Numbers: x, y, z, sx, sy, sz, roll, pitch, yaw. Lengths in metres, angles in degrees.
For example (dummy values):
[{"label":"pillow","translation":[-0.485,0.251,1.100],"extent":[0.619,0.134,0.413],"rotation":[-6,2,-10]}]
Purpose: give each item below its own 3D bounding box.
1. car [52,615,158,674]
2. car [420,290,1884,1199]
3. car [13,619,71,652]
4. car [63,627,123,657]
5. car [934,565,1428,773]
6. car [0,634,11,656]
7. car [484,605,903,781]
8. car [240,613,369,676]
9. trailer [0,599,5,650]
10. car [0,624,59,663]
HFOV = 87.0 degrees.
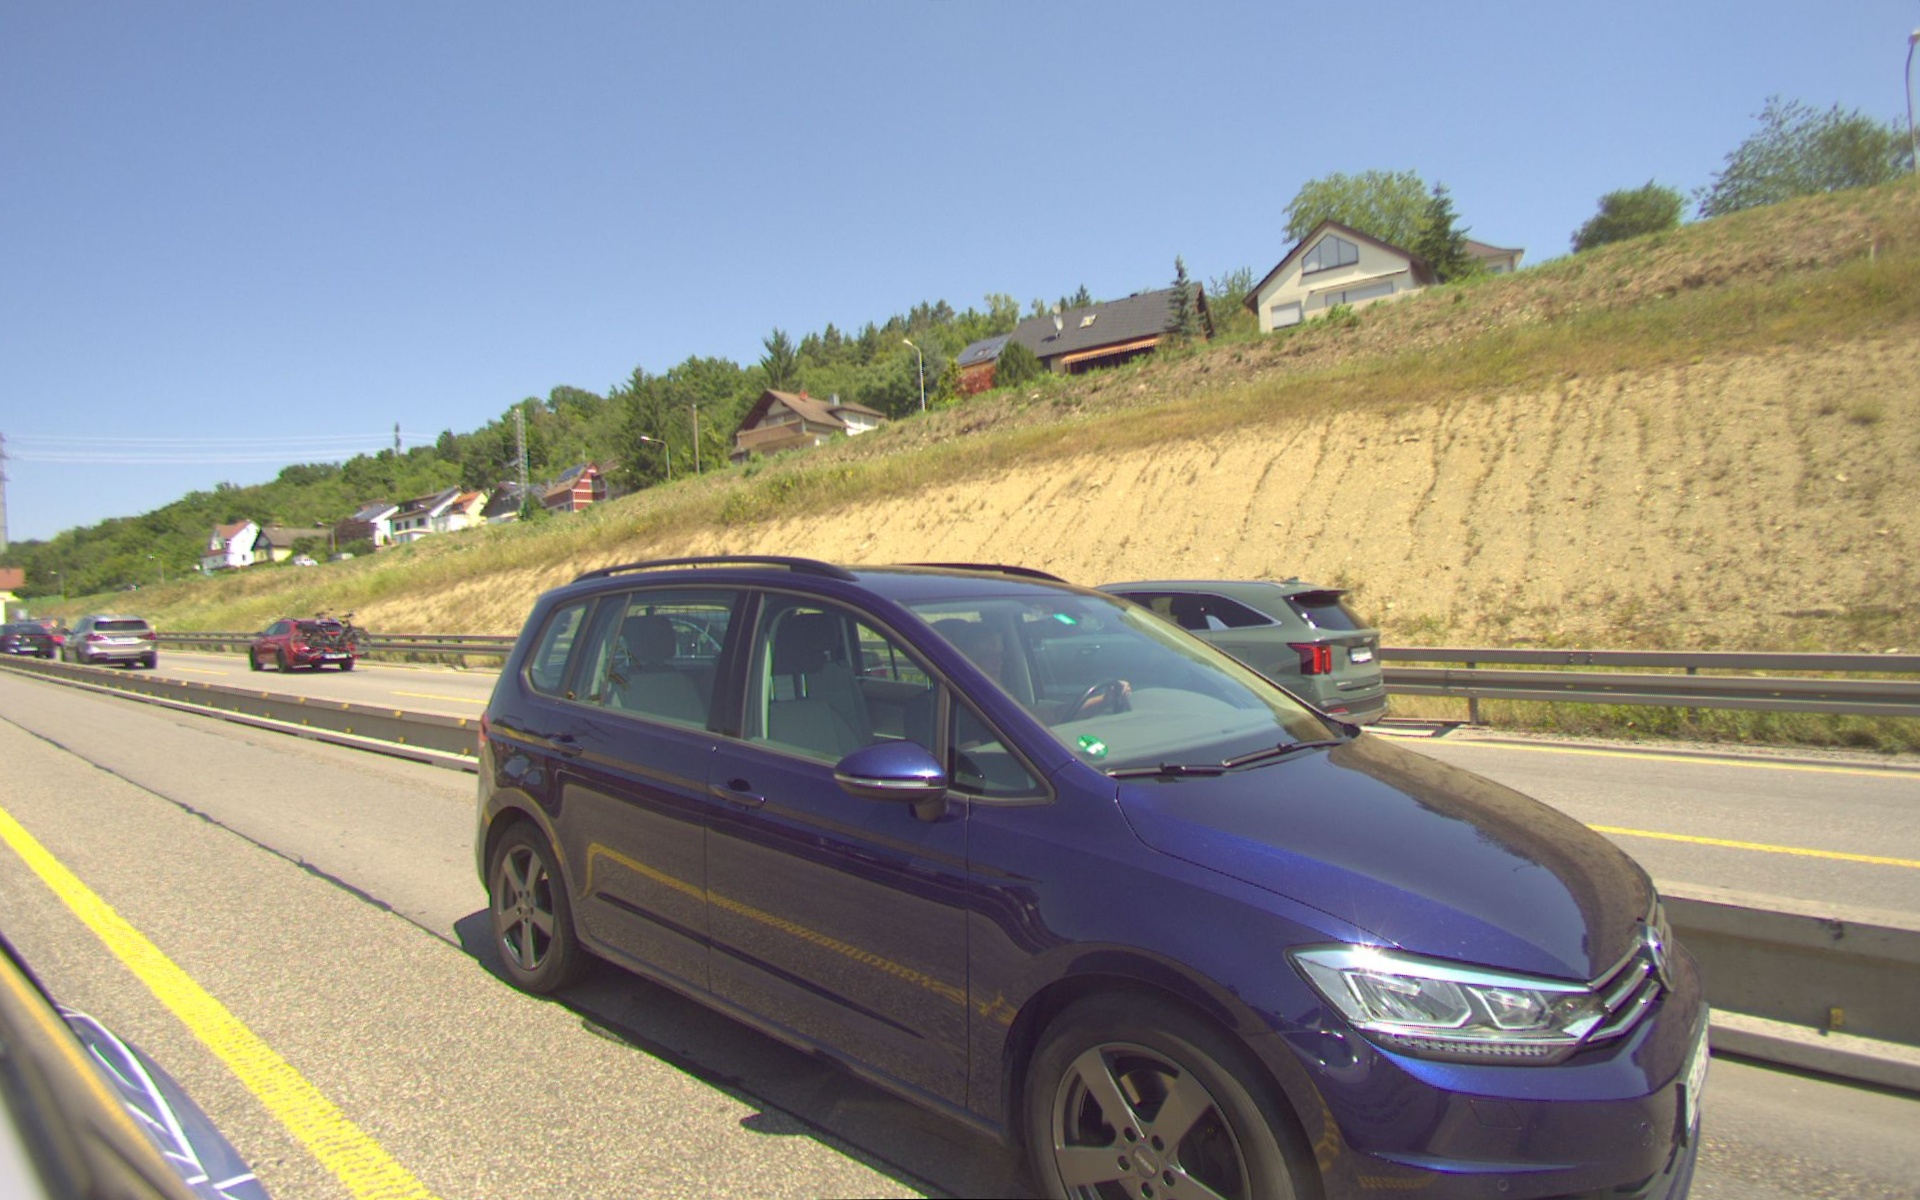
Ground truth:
[{"label":"car","translation":[-26.819,1.364,31.687],"extent":[4.686,1.678,1.826],"rotation":[-2,0,41]},{"label":"car","translation":[-0.002,0.540,3.504],"extent":[4.650,1.731,1.757],"rotation":[-3,-1,41]},{"label":"car","translation":[-57.324,2.200,63.155],"extent":[5.118,1.941,2.017],"rotation":[-2,-2,40]},{"label":"car","translation":[-43.361,2.071,50.592],"extent":[4.240,1.429,1.692],"rotation":[-2,-1,41]},{"label":"car","translation":[2.077,0.605,10.445],"extent":[4.665,1.684,1.835],"rotation":[-2,-1,41]},{"label":"car","translation":[-71.188,3.321,74.088],"extent":[4.716,1.518,1.973],"rotation":[-1,0,41]},{"label":"car","translation":[-2.998,0.819,10.634],"extent":[4.947,1.438,1.778],"rotation":[-2,-1,41]},{"label":"car","translation":[-18.427,1.202,28.344],"extent":[5.123,1.597,1.667],"rotation":[-2,0,41]},{"label":"trailer","translation":[-86.618,2.234,88.712],"extent":[13.968,4.213,2.757],"rotation":[-2,-1,40]},{"label":"car","translation":[-39.465,1.792,42.411],"extent":[5.087,1.510,1.935],"rotation":[-2,0,41]}]
